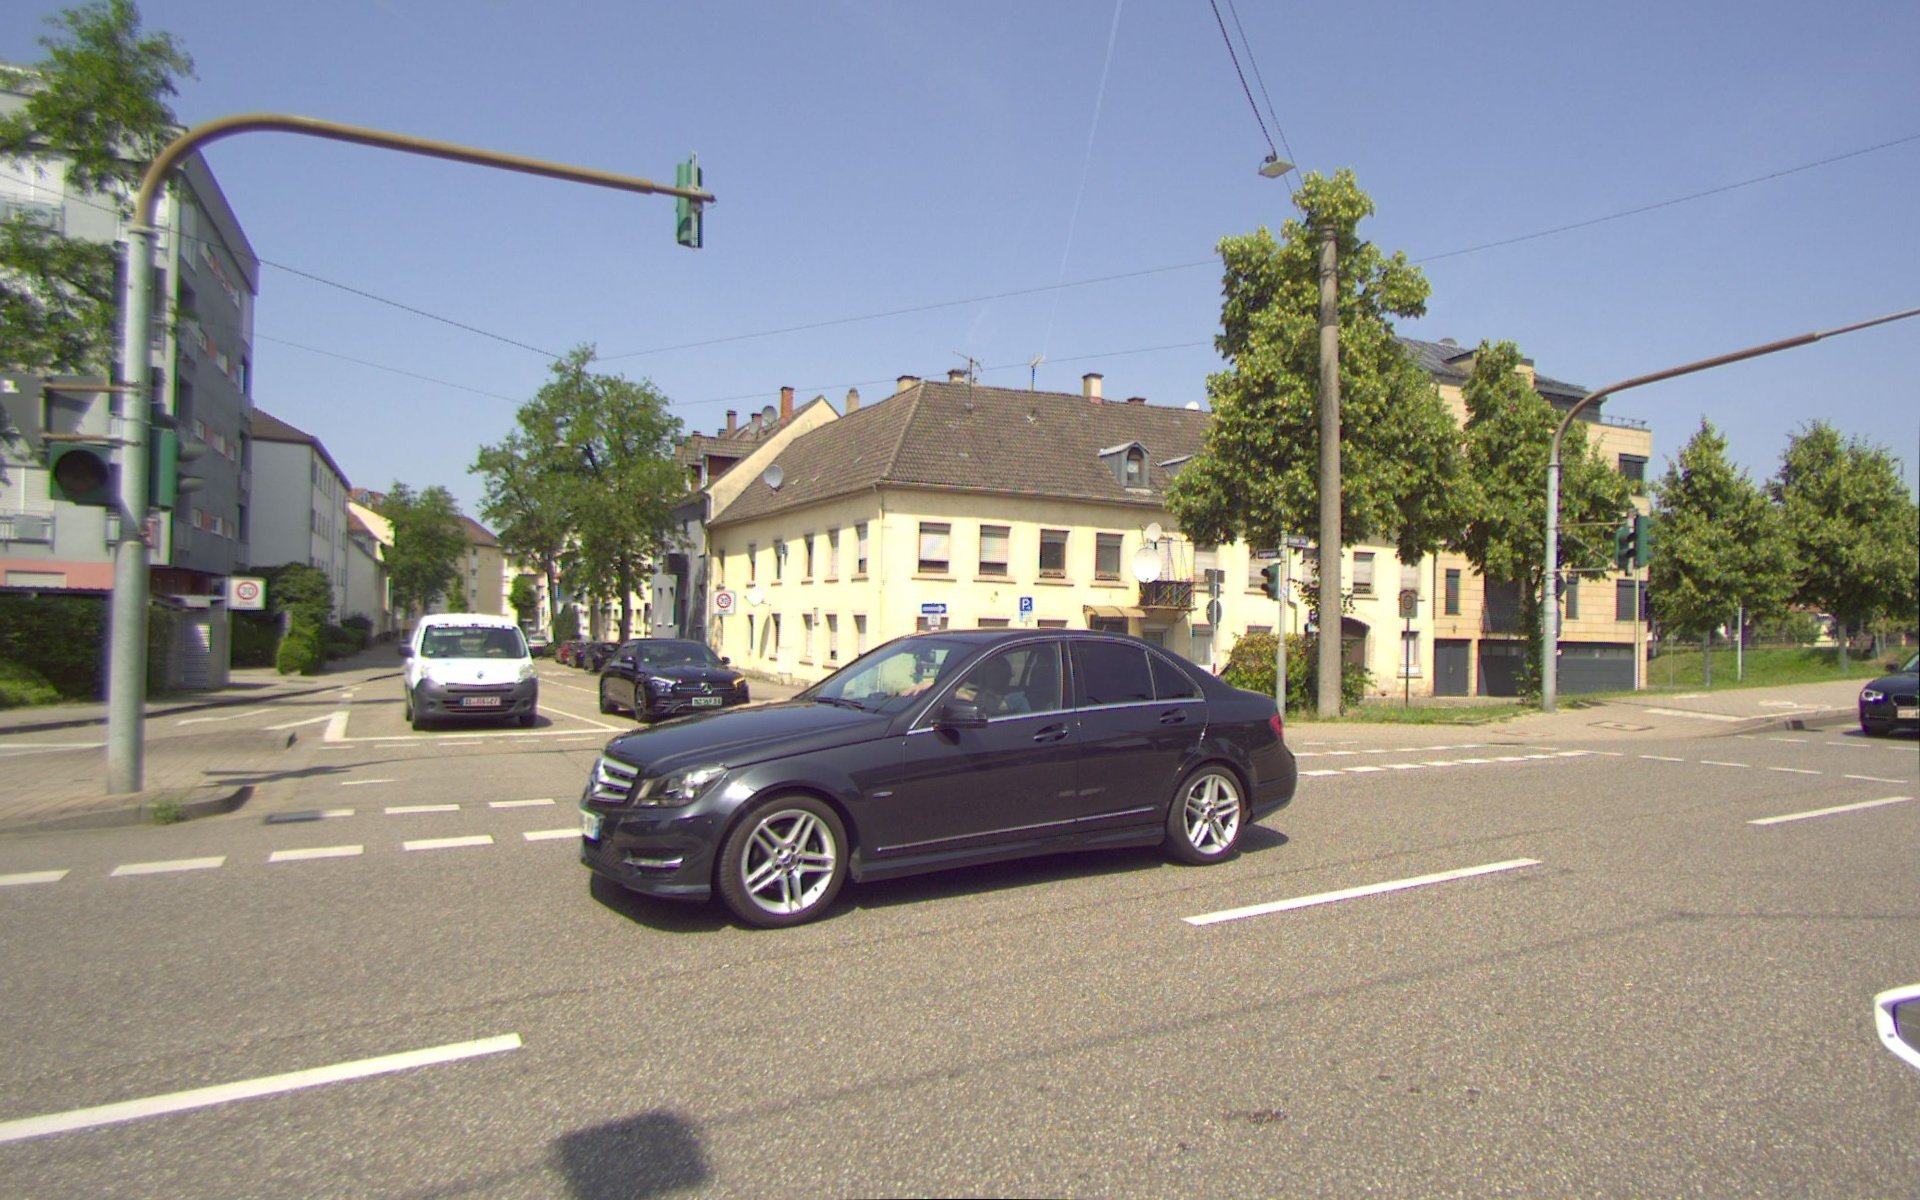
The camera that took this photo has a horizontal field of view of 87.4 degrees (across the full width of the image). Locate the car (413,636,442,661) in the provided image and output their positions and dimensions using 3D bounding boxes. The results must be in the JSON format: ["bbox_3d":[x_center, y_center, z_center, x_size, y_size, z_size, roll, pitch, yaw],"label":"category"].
[{"bbox_3d":[-39.626,3.584,74.756,1.526,1.694,3.235,2,0,-23],"label":"car"}]

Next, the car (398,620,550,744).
[{"bbox_3d":[-7.995,1.282,16.362,1.872,1.757,3.668,2,-4,-31],"label":"car"}]

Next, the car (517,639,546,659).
[{"bbox_3d":[-36.169,4.089,84.795,1.814,1.425,4.296,2,0,-28],"label":"car"}]

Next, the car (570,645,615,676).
[{"bbox_3d":[-20.574,3.359,56.122,1.788,1.425,3.970,2,0,-28],"label":"car"}]

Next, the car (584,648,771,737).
[{"bbox_3d":[-5.354,1.628,18.605,2.094,1.419,4.579,2,-4,-33],"label":"car"}]

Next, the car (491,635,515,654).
[{"bbox_3d":[-40.559,3.937,89.124,1.692,1.425,4.051,2,0,-28],"label":"car"}]

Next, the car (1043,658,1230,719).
[{"bbox_3d":[5.150,2.542,29.160,5.210,1.649,1.811,2,-4,-23],"label":"car"}]

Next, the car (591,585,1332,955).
[{"bbox_3d":[0.140,0.829,6.169,4.268,1.580,1.747,2,-3,-31],"label":"car"}]

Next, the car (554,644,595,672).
[{"bbox_3d":[-23.674,3.519,61.604,1.814,1.425,4.296,2,0,-28],"label":"car"}]

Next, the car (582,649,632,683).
[{"bbox_3d":[-18.071,3.339,51.305,1.788,1.425,3.970,2,0,-28],"label":"car"}]

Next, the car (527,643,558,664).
[{"bbox_3d":[-32.958,4.193,79.165,1.814,1.425,4.296,2,0,-28],"label":"car"}]

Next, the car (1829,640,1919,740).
[{"bbox_3d":[15.422,1.323,15.292,3.995,1.417,1.831,1,-4,-25],"label":"car"}]
